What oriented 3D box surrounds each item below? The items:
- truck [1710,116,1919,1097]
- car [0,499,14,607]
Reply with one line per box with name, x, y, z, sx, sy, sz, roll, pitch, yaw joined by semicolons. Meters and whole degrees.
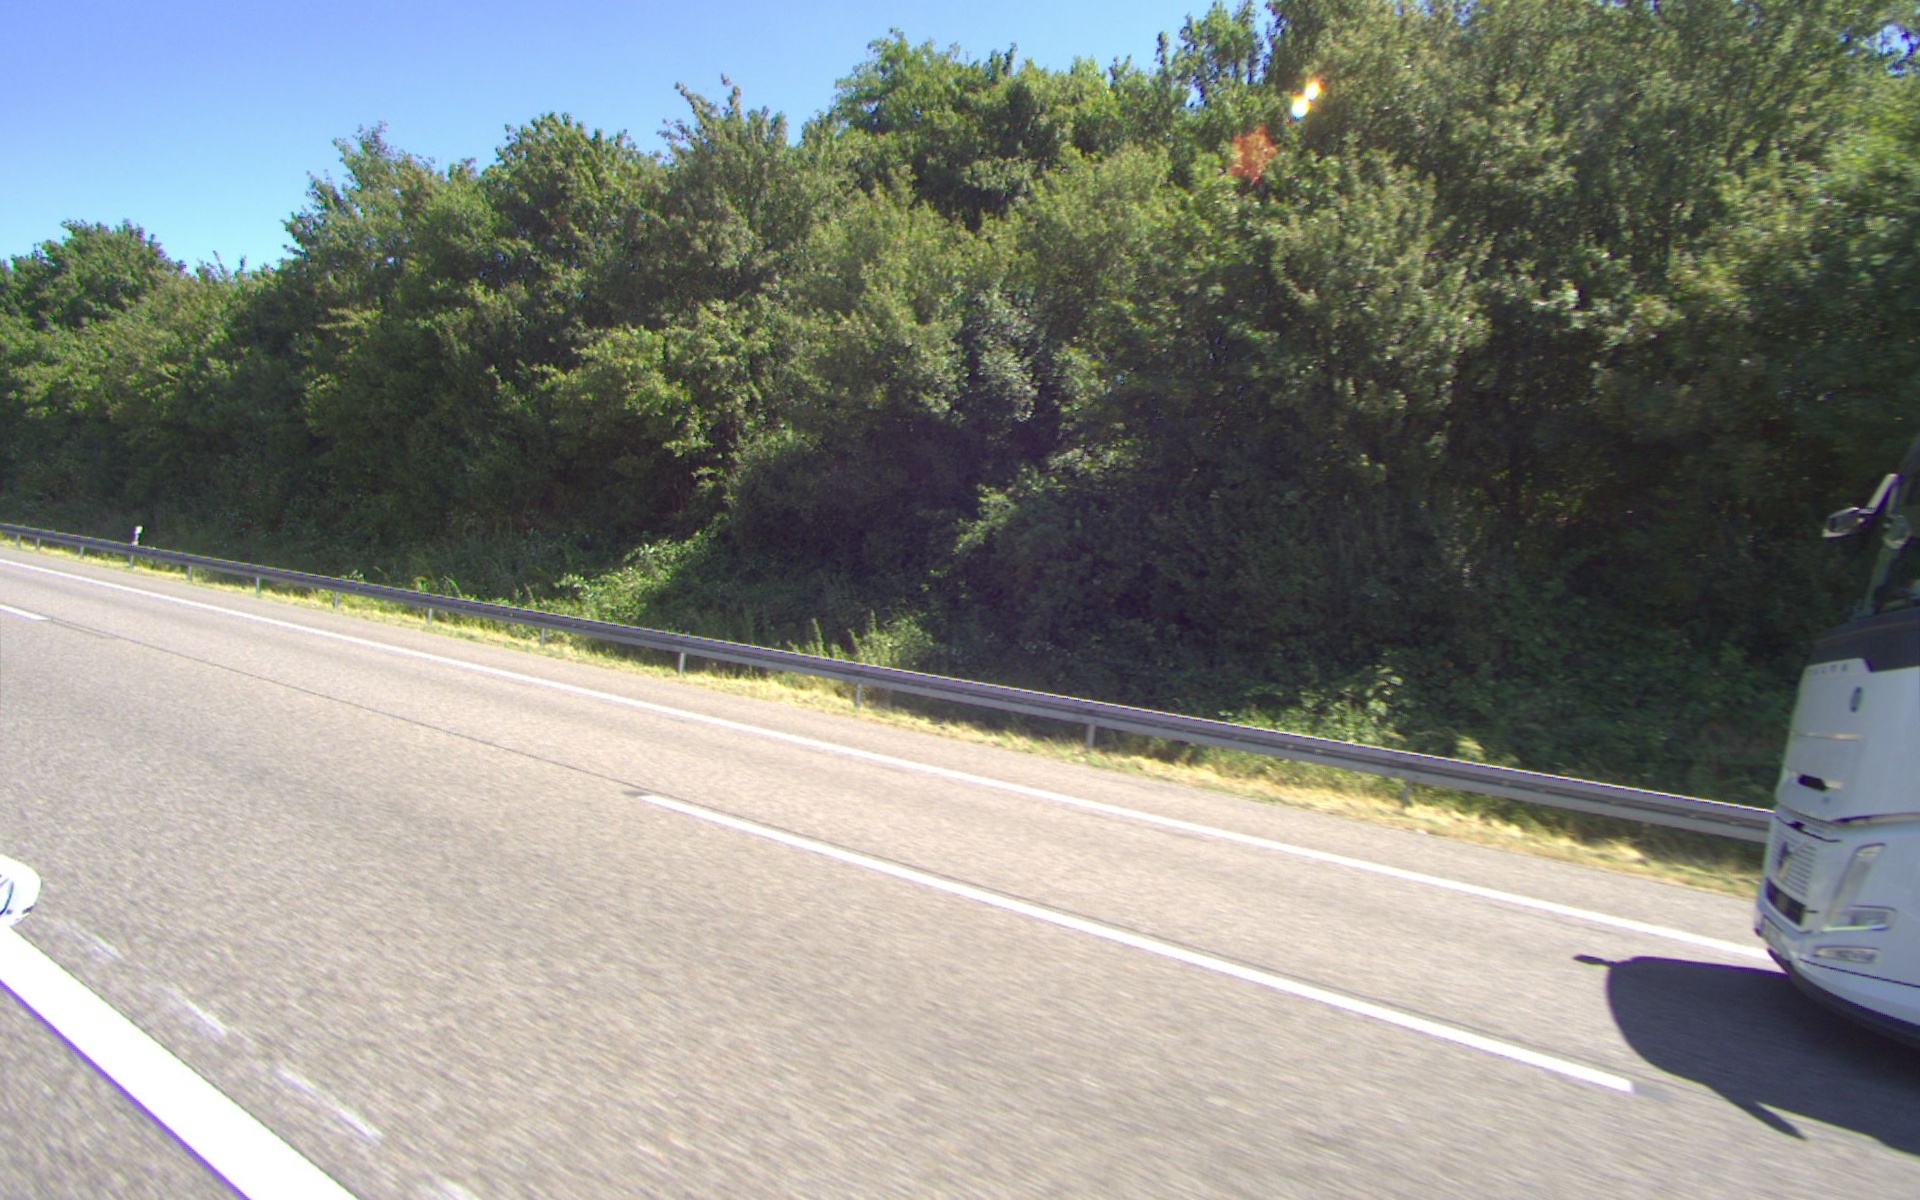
truck;7.274;0.364;4.181;5.947;4.265;3.053;7;-1;31
car;-15.396;-0.899;14.023;4.680;1.550;1.903;7;-1;31
